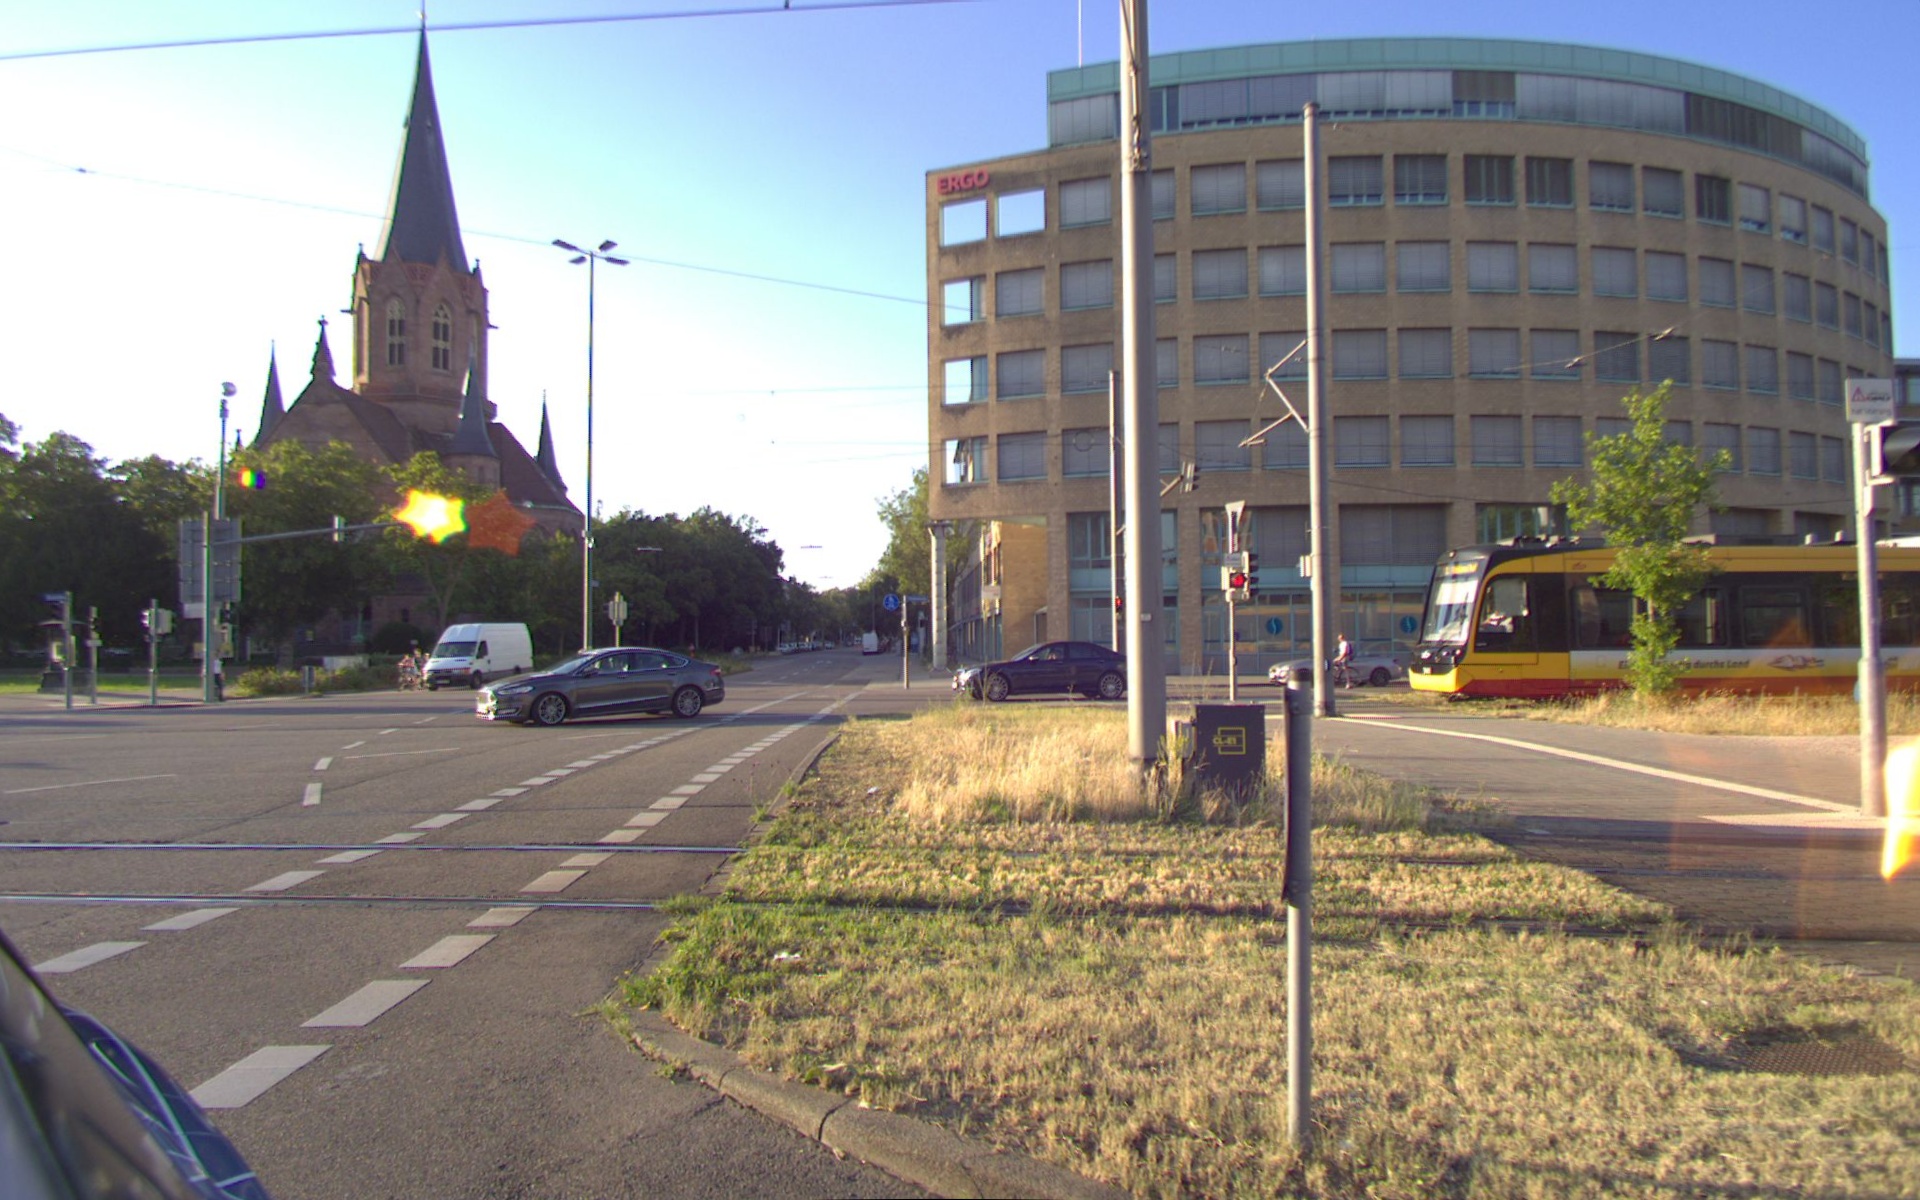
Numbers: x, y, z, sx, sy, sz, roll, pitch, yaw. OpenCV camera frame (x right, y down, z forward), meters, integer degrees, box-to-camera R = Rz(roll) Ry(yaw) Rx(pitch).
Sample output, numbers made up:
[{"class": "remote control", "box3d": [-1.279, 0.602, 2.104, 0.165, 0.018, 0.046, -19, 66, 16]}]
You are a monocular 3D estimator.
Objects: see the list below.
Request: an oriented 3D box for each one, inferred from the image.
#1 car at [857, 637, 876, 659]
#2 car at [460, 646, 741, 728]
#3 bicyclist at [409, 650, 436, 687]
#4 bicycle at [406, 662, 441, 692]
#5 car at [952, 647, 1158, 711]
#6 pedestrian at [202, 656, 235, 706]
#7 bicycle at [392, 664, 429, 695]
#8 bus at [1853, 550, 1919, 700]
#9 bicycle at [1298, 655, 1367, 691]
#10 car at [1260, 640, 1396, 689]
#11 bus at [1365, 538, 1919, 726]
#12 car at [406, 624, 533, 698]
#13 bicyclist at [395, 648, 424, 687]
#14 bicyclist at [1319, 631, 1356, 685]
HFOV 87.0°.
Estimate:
[{"class": "car", "box3d": [-11.296, 5.805, 122.485, 2.074, 2.441, 4.368, -1, -1, -3]}, {"class": "car", "box3d": [-7.071, 1.661, 20.272, 4.962, 1.447, 1.882, 3, -4, -40]}, {"class": "bicyclist", "box3d": [-23.720, 3.009, 44.668, 0.812, 1.580, 0.733, -1, -1, 2]}, {"class": "bicycle", "box3d": [-23.714, 3.402, 44.759, 0.484, 1.191, 1.971, -1, -1, 1]}, {"class": "car", "box3d": [2.387, 1.989, 25.899, 4.945, 1.519, 1.728, 1, -2, -10]}, {"class": "pedestrian", "box3d": [-25.374, 2.764, 34.634, 0.649, 1.694, 0.662, -1, -2, 0]}, {"class": "bicycle", "box3d": [-23.158, 3.347, 42.685, 0.484, 1.191, 1.971, -1, -1, 1]}, {"class": "bus", "box3d": [26.810, 0.437, 22.605, 10.576, 3.356, 3.764, -1, -1, -3]}, {"class": "bicycle", "box3d": [11.876, 2.313, 32.272, 2.037, 1.075, 0.439, -1, -1, -4]}, {"class": "car", "box3d": [12.628, 2.201, 34.898, 3.944, 1.567, 2.000, 0, -1, 0]}, {"class": "bus", "box3d": [15.541, 0.616, 21.924, 11.950, 3.482, 3.764, -1, -1, -4]}, {"class": "car", "box3d": [-21.030, 2.565, 43.872, 2.275, 2.900, 7.204, -1, -2, -2]}, {"class": "bicyclist", "box3d": [-23.178, 2.839, 42.587, 0.812, 1.580, 0.733, -1, -1, 2]}, {"class": "bicyclist", "box3d": [12.035, 1.845, 32.297, 0.781, 1.674, 0.837, -1, -1, -5]}]
